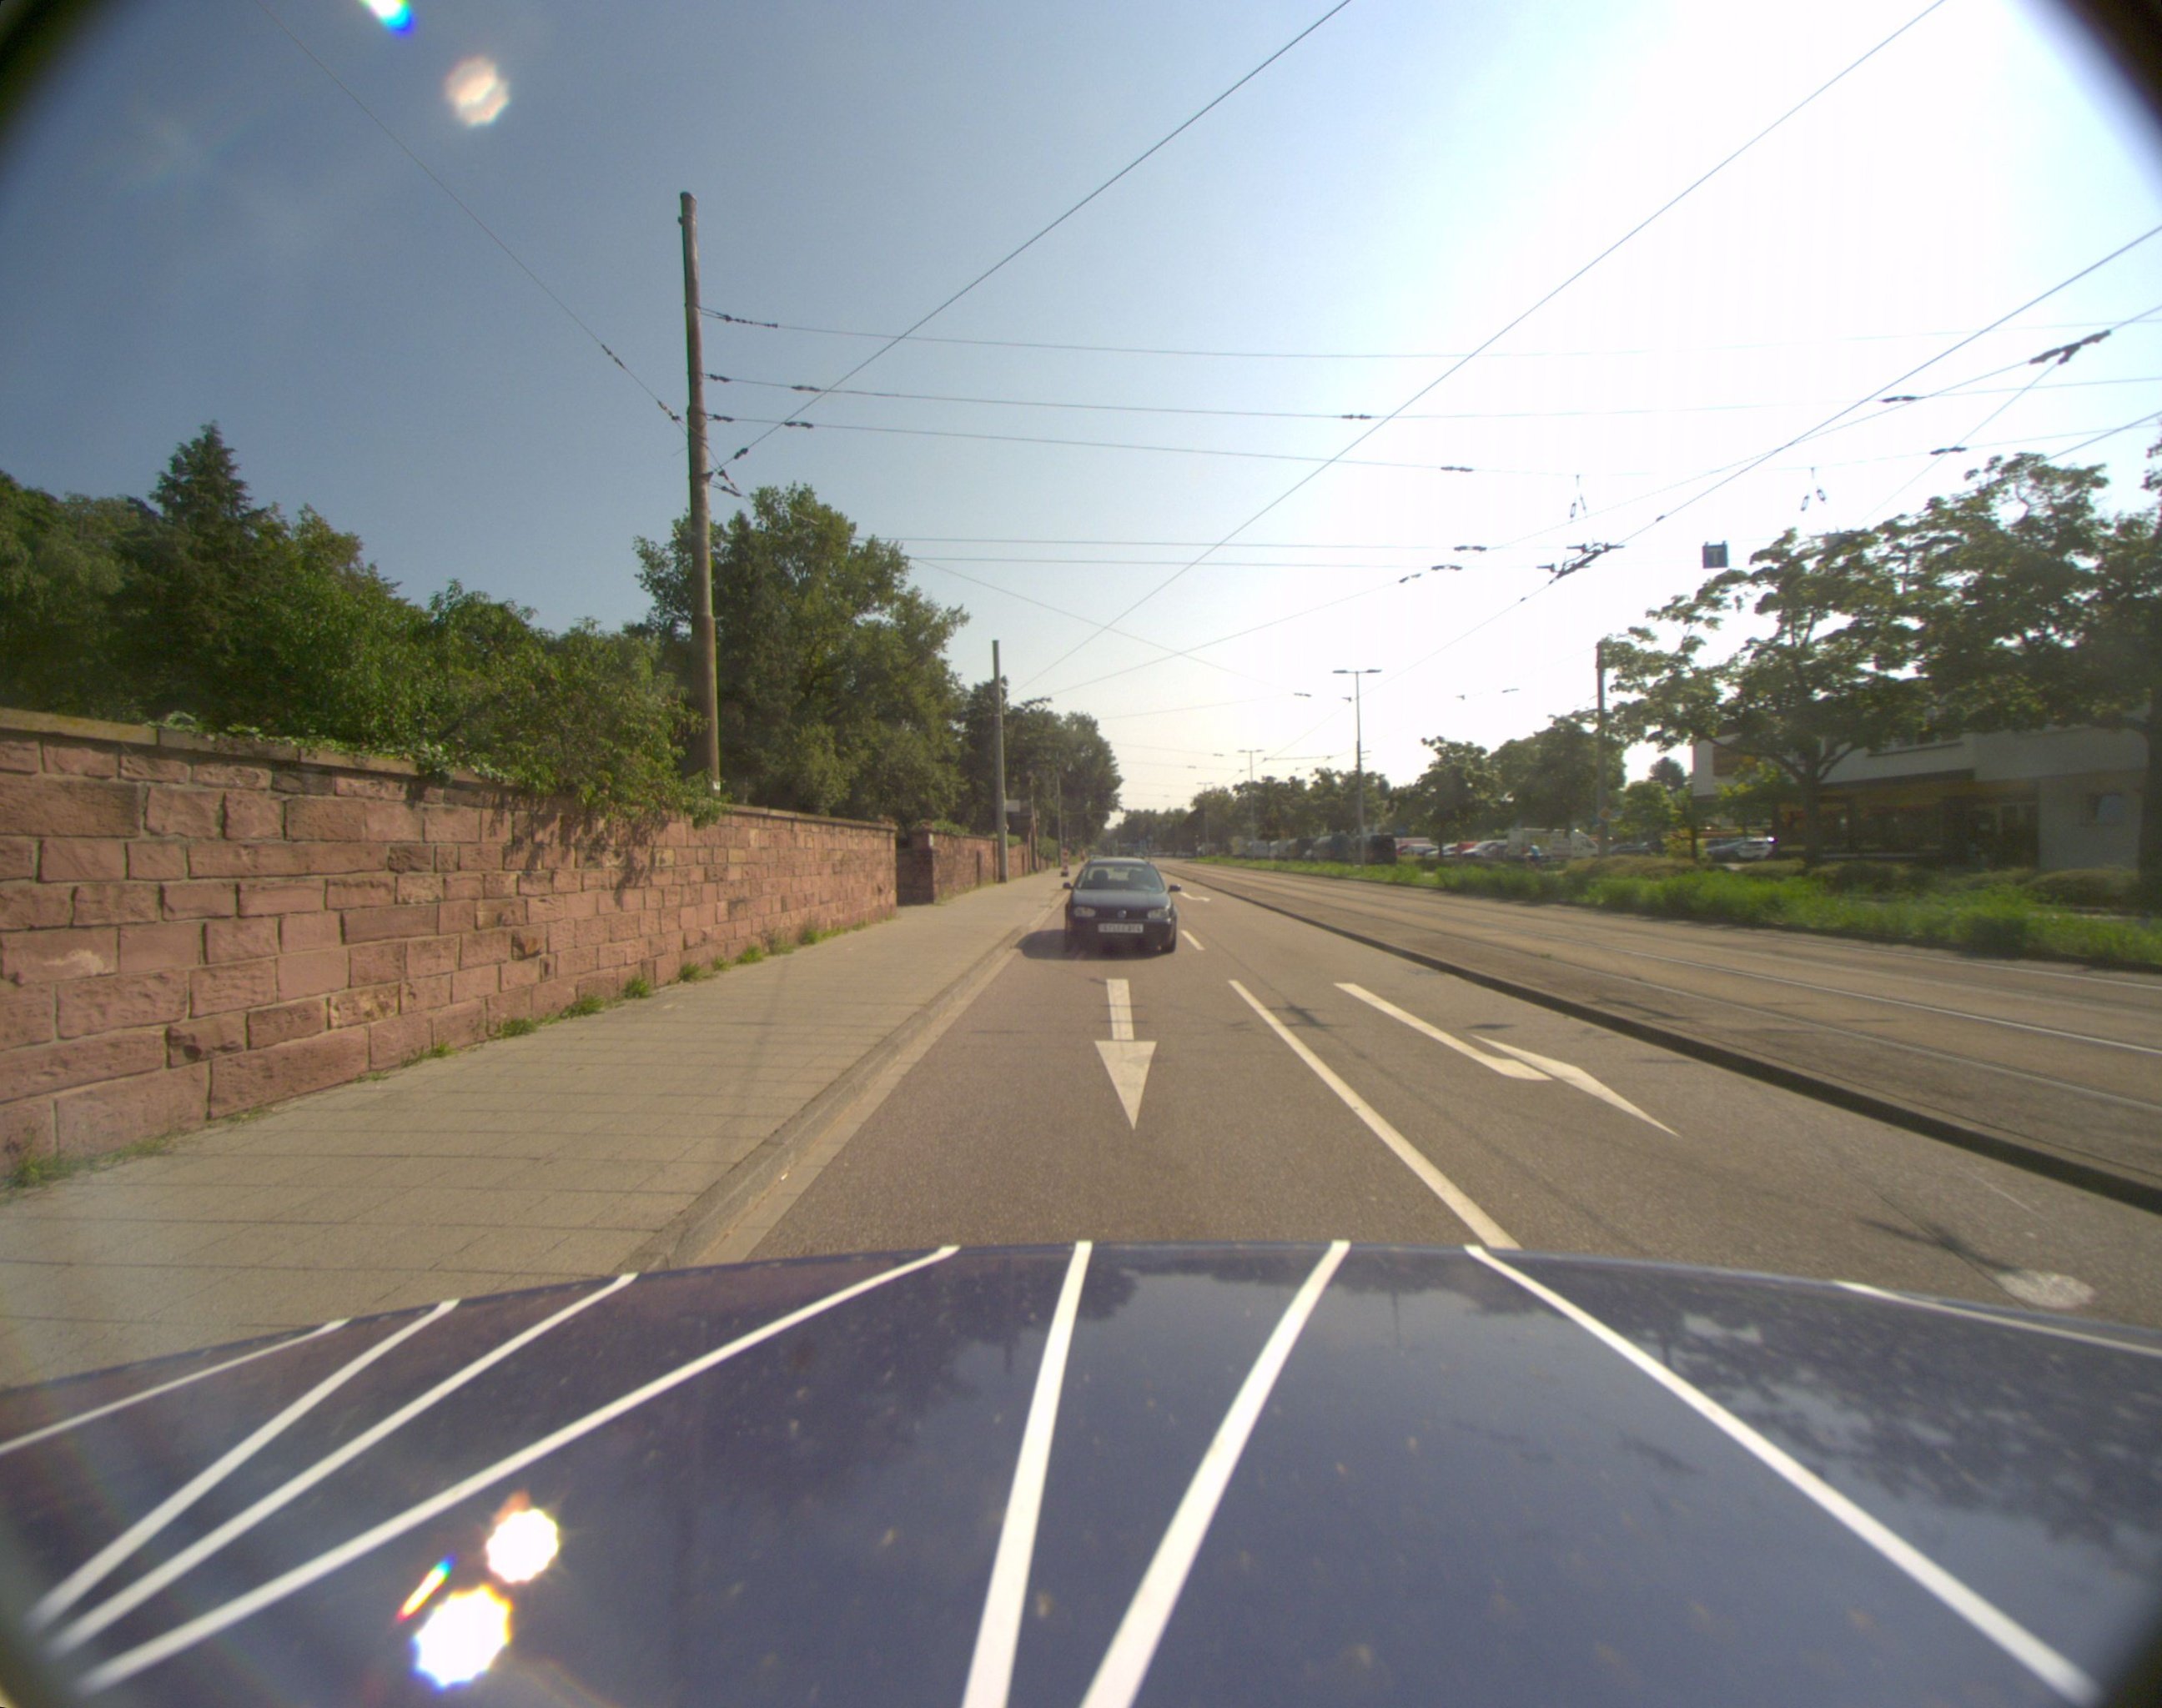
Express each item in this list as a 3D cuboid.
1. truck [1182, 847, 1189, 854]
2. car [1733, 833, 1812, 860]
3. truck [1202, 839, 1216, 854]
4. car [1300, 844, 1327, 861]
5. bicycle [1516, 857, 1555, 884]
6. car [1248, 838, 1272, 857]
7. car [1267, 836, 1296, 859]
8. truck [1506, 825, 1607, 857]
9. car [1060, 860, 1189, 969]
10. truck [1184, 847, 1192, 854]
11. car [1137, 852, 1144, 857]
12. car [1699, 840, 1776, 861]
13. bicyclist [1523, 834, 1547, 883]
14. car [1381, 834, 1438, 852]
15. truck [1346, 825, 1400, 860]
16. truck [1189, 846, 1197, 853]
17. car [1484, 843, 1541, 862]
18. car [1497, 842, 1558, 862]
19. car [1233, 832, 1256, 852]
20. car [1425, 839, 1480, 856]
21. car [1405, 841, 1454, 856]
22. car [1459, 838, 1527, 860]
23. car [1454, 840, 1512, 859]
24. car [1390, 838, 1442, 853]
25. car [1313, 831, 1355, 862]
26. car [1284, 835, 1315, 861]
[{"bbox_3d":[27.572,-0.904,200.550,1.691,1.665,3.655,0,1,3],"label":"truck"},{"bbox_3d":[44.947,-0.512,49.411,3.455,1.494,1.875,-3,3,-1],"label":"car"},{"bbox_3d":[26.200,-1.533,155.905,2.278,3.104,8.789,0,1,5],"label":"truck"},{"bbox_3d":[22.724,-0.141,74.435,1.748,1.543,3.834,-2,1,5],"label":"car"},{"bbox_3d":[19.379,0.693,32.445,0.716,1.085,2.267,0,1,11],"label":"bicycle"},{"bbox_3d":[24.183,-0.880,102.949,2.148,2.444,4.832,0,1,1],"label":"car"},{"bbox_3d":[23.382,-0.811,88.647,2.137,2.571,5.631,0,1,3],"label":"car"},{"bbox_3d":[32.835,-0.893,52.558,5.503,2.160,2.259,0,1,1],"label":"truck"},{"bbox_3d":[0.710,0.852,12.472,1.775,1.416,3.935,0,1,3],"label":"car"},{"bbox_3d":[27.620,-0.836,196.310,1.691,1.665,3.655,0,1,3],"label":"truck"},{"bbox_3d":[16.683,0.122,212.136,1.726,1.317,4.000,0,1,2],"label":"car"},{"bbox_3d":[44.567,-0.242,51.611,3.712,1.335,1.492,-1,1,10],"label":"car"},{"bbox_3d":[19.385,0.192,32.474,0.638,2.052,0.775,1,1,12],"label":"bicyclist"},{"bbox_3d":[35.218,-1.161,81.540,5.197,1.914,2.052,0,1,1],"label":"car"},{"bbox_3d":[22.272,-0.858,58.171,2.086,2.533,5.739,0,1,2],"label":"truck"},{"bbox_3d":[27.436,-0.997,186.235,1.691,1.665,3.655,0,1,3],"label":"truck"},{"bbox_3d":[32.603,-0.152,57.471,3.413,1.418,1.633,0,1,1],"label":"car"},{"bbox_3d":[32.348,-0.186,55.105,3.413,1.418,1.633,0,1,1],"label":"car"},{"bbox_3d":[24.160,-1.776,112.658,2.129,2.789,7.231,0,1,3],"label":"car"},{"bbox_3d":[33.134,-0.585,67.828,4.165,1.455,1.625,0,1,5],"label":"car"},{"bbox_3d":[33.556,-0.568,73.273,3.932,1.441,1.633,0,1,1],"label":"car"},{"bbox_3d":[32.659,-0.401,60.295,4.409,1.774,1.633,0,1,1],"label":"car"},{"bbox_3d":[33.186,-0.398,62.839,3.932,1.510,1.633,0,1,1],"label":"car"},{"bbox_3d":[34.517,-0.877,78.420,4.665,1.441,1.633,0,1,1],"label":"car"},{"bbox_3d":[22.617,-0.688,68.135,1.992,2.571,6.468,-2,1,4],"label":"car"},{"bbox_3d":[23.127,-0.625,80.571,1.826,2.571,5.911,-2,0,4],"label":"car"}]
